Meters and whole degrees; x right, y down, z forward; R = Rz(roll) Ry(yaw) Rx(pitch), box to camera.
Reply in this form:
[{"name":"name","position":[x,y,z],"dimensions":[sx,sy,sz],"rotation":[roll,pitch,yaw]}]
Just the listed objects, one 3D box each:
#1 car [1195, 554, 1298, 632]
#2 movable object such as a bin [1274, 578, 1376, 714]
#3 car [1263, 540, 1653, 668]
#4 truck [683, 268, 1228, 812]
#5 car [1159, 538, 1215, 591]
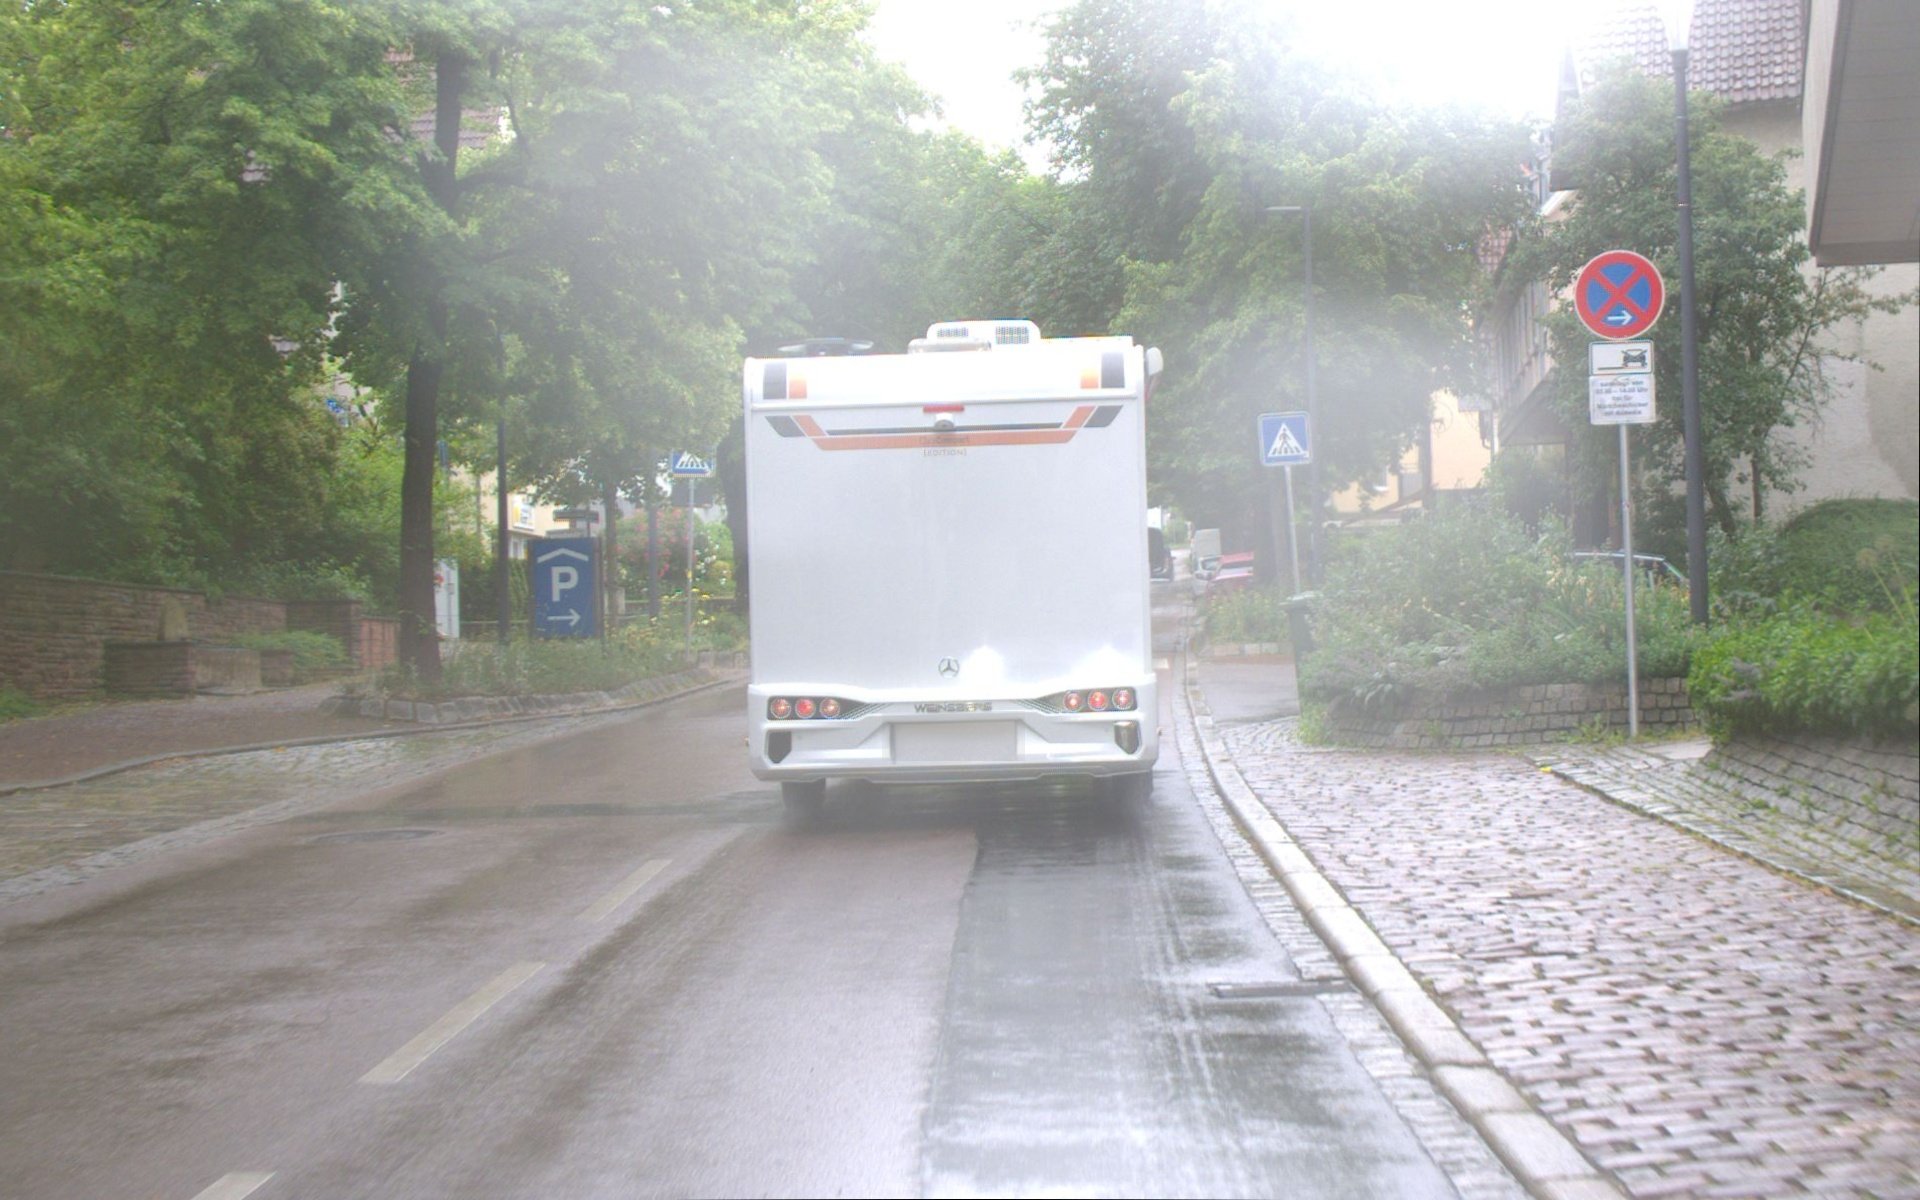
[{"name":"car","position":[5.628,-0.158,67.209],"dimensions":[1.856,1.467,4.364],"rotation":[0,1,7]},{"name":"movable object such as a bin","position":[3.116,0.389,29.314],"dimensions":[0.704,1.120,0.571],"rotation":[-3,-1,20]},{"name":"car","position":[5.676,0.038,39.574],"dimensions":[4.283,1.412,1.840],"rotation":[0,1,3]},{"name":"truck","position":[0.146,-0.288,21.418],"dimensions":[2.806,2.787,6.106],"rotation":[-2,-1,3]},{"name":"car","position":[7.087,-1.090,107.081],"dimensions":[1.649,1.536,3.530],"rotation":[-2,-1,4]}]
